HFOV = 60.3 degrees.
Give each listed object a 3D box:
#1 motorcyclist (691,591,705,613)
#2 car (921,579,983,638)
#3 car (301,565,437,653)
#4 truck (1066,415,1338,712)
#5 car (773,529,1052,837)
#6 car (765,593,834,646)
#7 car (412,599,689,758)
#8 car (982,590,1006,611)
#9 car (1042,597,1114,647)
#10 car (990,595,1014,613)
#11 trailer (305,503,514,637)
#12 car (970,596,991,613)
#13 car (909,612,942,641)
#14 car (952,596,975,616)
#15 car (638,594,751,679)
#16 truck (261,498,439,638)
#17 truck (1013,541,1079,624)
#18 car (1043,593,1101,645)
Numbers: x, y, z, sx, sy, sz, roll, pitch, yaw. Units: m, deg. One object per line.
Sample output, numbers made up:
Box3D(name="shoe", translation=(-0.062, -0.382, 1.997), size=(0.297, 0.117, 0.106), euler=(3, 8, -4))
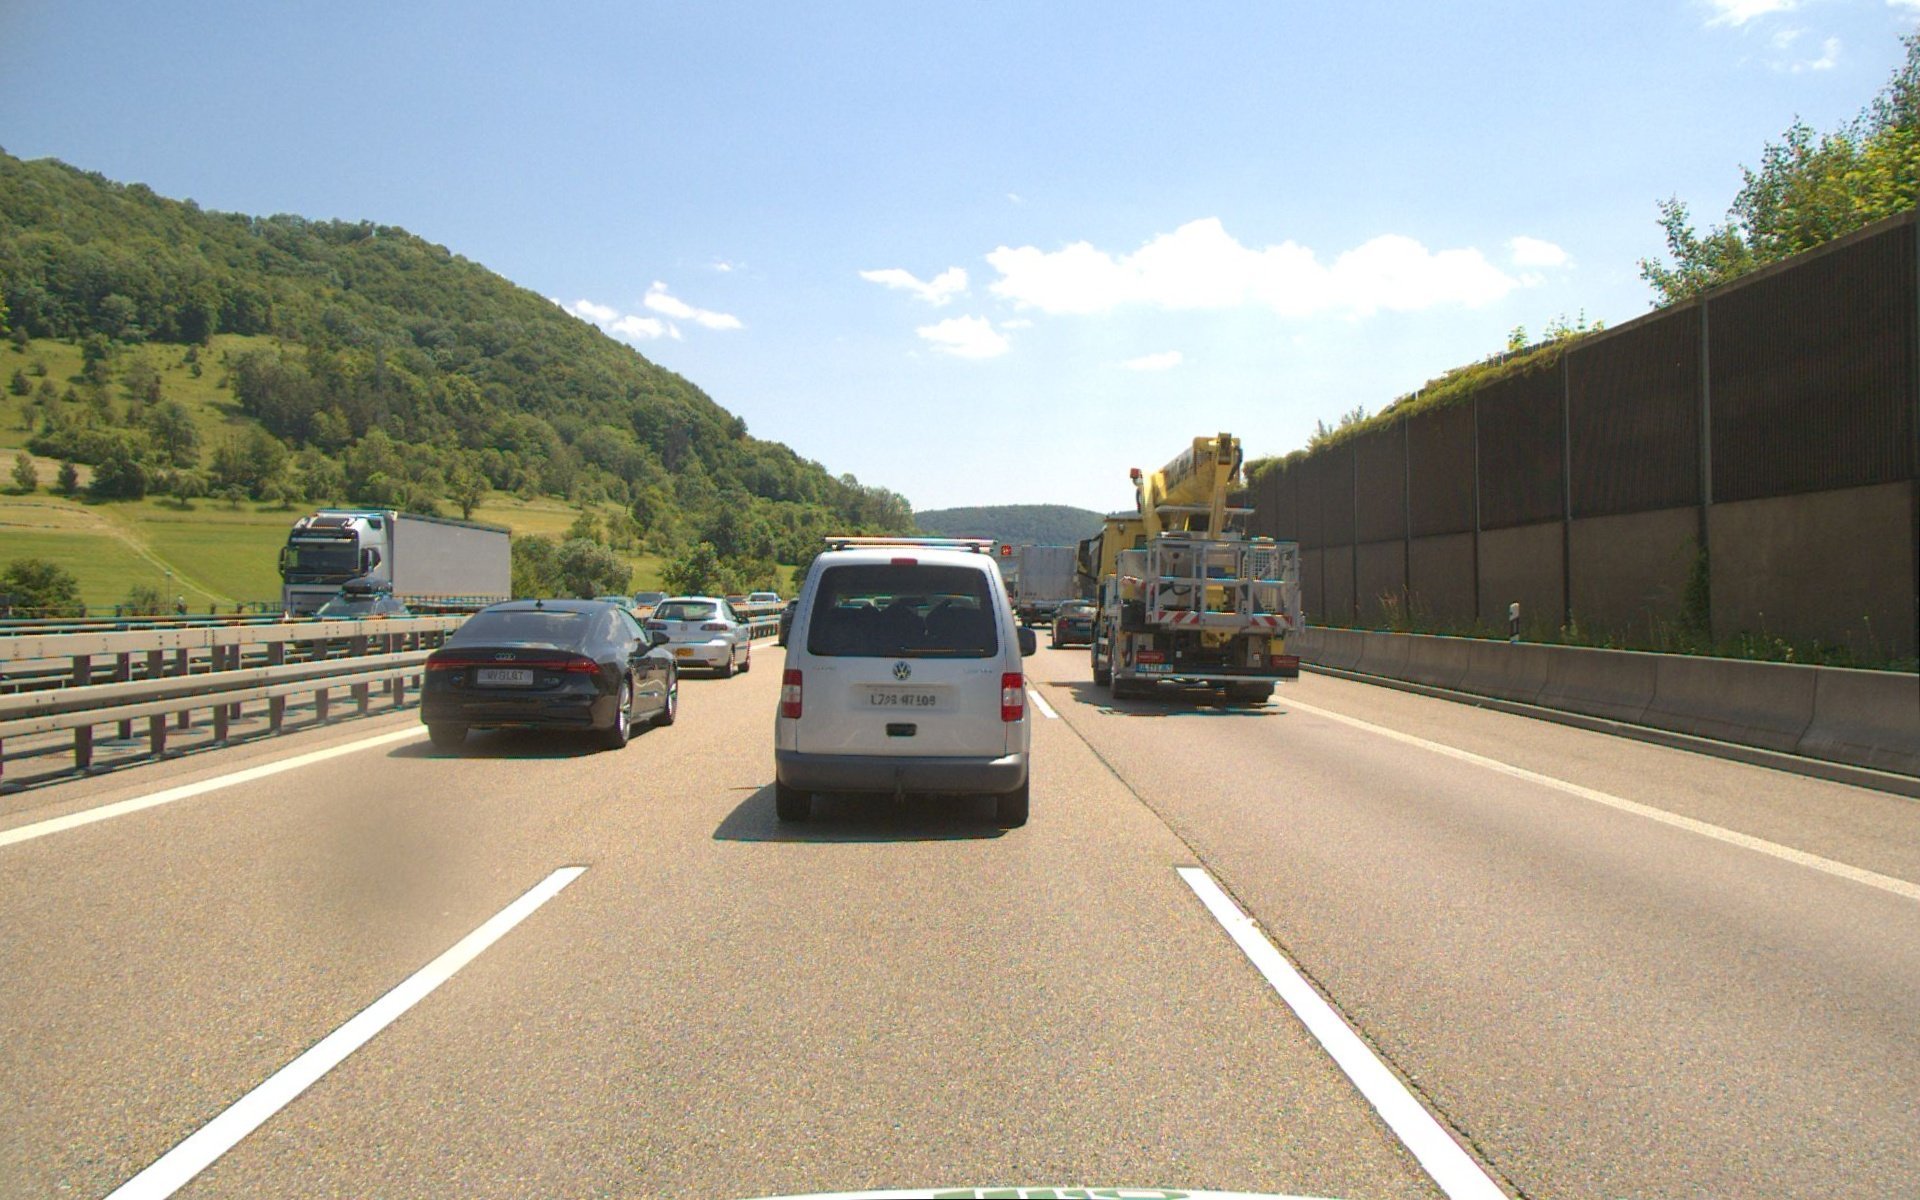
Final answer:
Box3D(name="motorcyclist", translation=(-17.892, 0.147, 113.098), size=(0.827, 1.527, 0.838), euler=(0, 0, -2))
Box3D(name="car", translation=(-0.319, 0.293, 58.432), size=(1.954, 2.010, 3.997), euler=(0, 0, -3))
Box3D(name="car", translation=(-15.182, 0.211, 42.755), size=(1.846, 2.155, 4.284), euler=(0, 0, 2))
Box3D(name="truck", translation=(3.563, -0.499, 26.738), size=(2.650, 4.011, 8.716), euler=(0, 0, -3))
Box3D(name="car", translation=(-0.402, 0.509, 12.240), size=(1.721, 1.900, 3.997), euler=(0, 0, -3))
Box3D(name="car", translation=(-4.819, 0.557, 50.154), size=(1.886, 1.525, 3.997), euler=(1, 0, -3))
Box3D(name="car", translation=(-4.077, 0.704, 17.314), size=(1.764, 1.415, 4.968), euler=(0, 0, -1))
Box3D(name="car", translation=(2.919, 0.081, 142.842), size=(1.953, 1.779, 3.999), euler=(1, 0, 0))
Box3D(name="car", translation=(3.615, 0.646, 51.074), size=(1.751, 1.484, 3.768), euler=(0, 0, -3))
Box3D(name="car", translation=(4.342, 0.414, 170.565), size=(2.072, 1.859, 3.997), euler=(1, 0, -4))
Box3D(name="trailer", translation=(-19.598, -0.917, 60.129), size=(3.180, 4.278, 12.998), euler=(1, 0, 0))
Box3D(name="car", translation=(2.308, 0.500, 186.943), size=(2.072, 1.859, 3.997), euler=(1, 0, -4))
Box3D(name="car", translation=(-2.250, 1.762, 109.475), size=(2.071, 1.859, 3.999), euler=(1, 0, -1))
Box3D(name="car", translation=(0.341, 0.595, 163.925), size=(2.072, 1.859, 3.997), euler=(1, 0, -4))
Box3D(name="car", translation=(-4.876, 0.636, 30.813), size=(1.662, 1.470, 3.859), euler=(0, 0, -3))
Box3D(name="truck", translation=(-19.560, -0.943, 53.557), size=(3.211, 4.220, 6.953), euler=(1, 0, -1))
Box3D(name="truck", translation=(4.225, -0.780, 82.573), size=(2.880, 3.890, 8.237), euler=(1, 0, 1))
Box3D(name="car", translation=(4.539, 0.746, 67.265), size=(1.953, 2.049, 3.998), euler=(0, 0, -2))
